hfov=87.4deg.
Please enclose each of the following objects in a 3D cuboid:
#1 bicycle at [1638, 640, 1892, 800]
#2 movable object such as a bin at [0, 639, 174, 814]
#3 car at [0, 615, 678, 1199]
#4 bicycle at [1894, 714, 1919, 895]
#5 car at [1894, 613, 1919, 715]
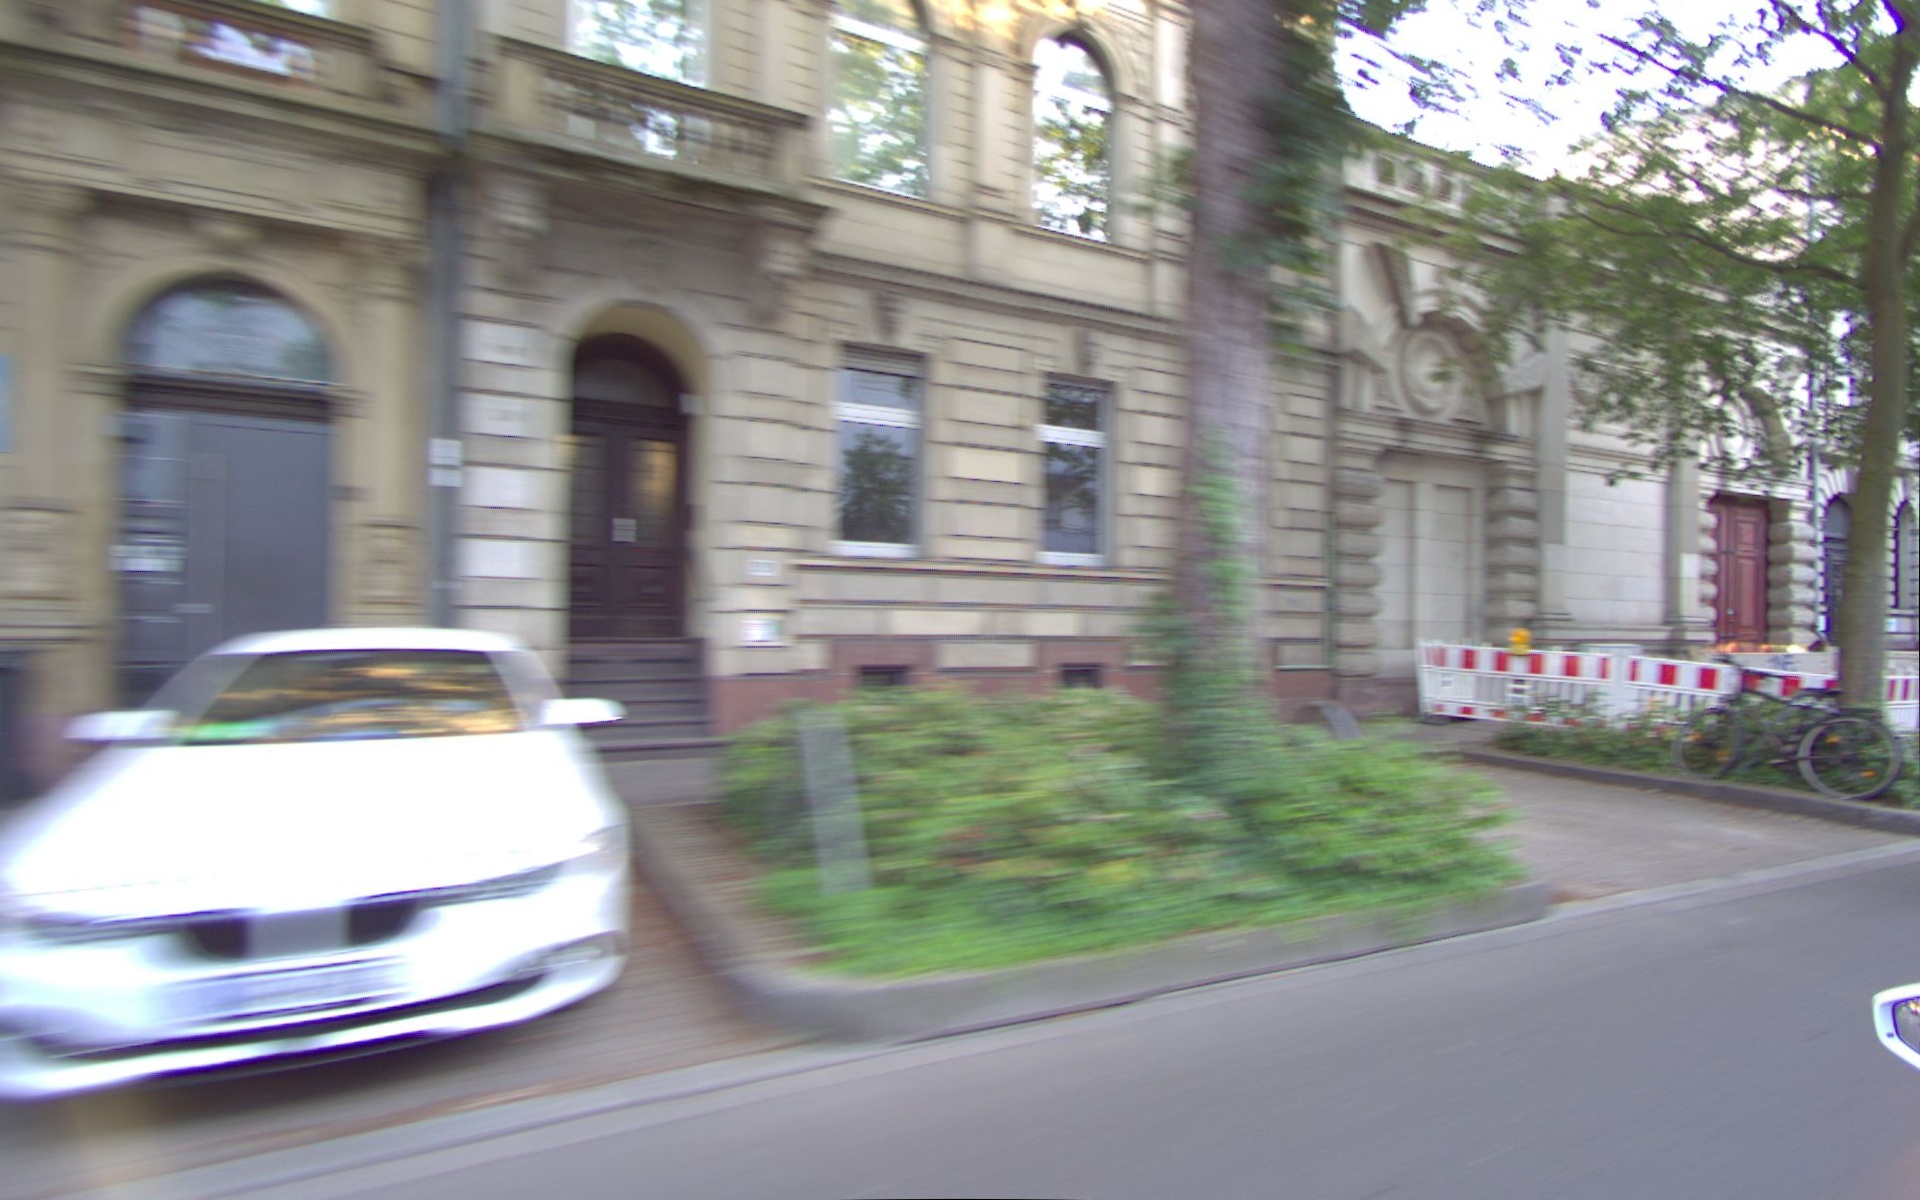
[{"bbox_3d":[7.187,1.017,9.084,0.493,1.248,1.768,2,-1,-21],"label":"bicycle"},{"bbox_3d":[-6.274,0.828,6.846,1.300,1.076,0.797,1,1,-28],"label":"movable object such as a bin"},{"bbox_3d":[-2.666,0.807,4.678,1.890,1.409,4.500,2,-1,-25],"label":"car"},{"bbox_3d":[6.341,1.186,5.924,1.736,1.007,0.670,1,-1,-27],"label":"bicycle"},{"bbox_3d":[16.918,1.153,14.973,1.758,1.618,3.950,2,2,-26],"label":"car"}]
